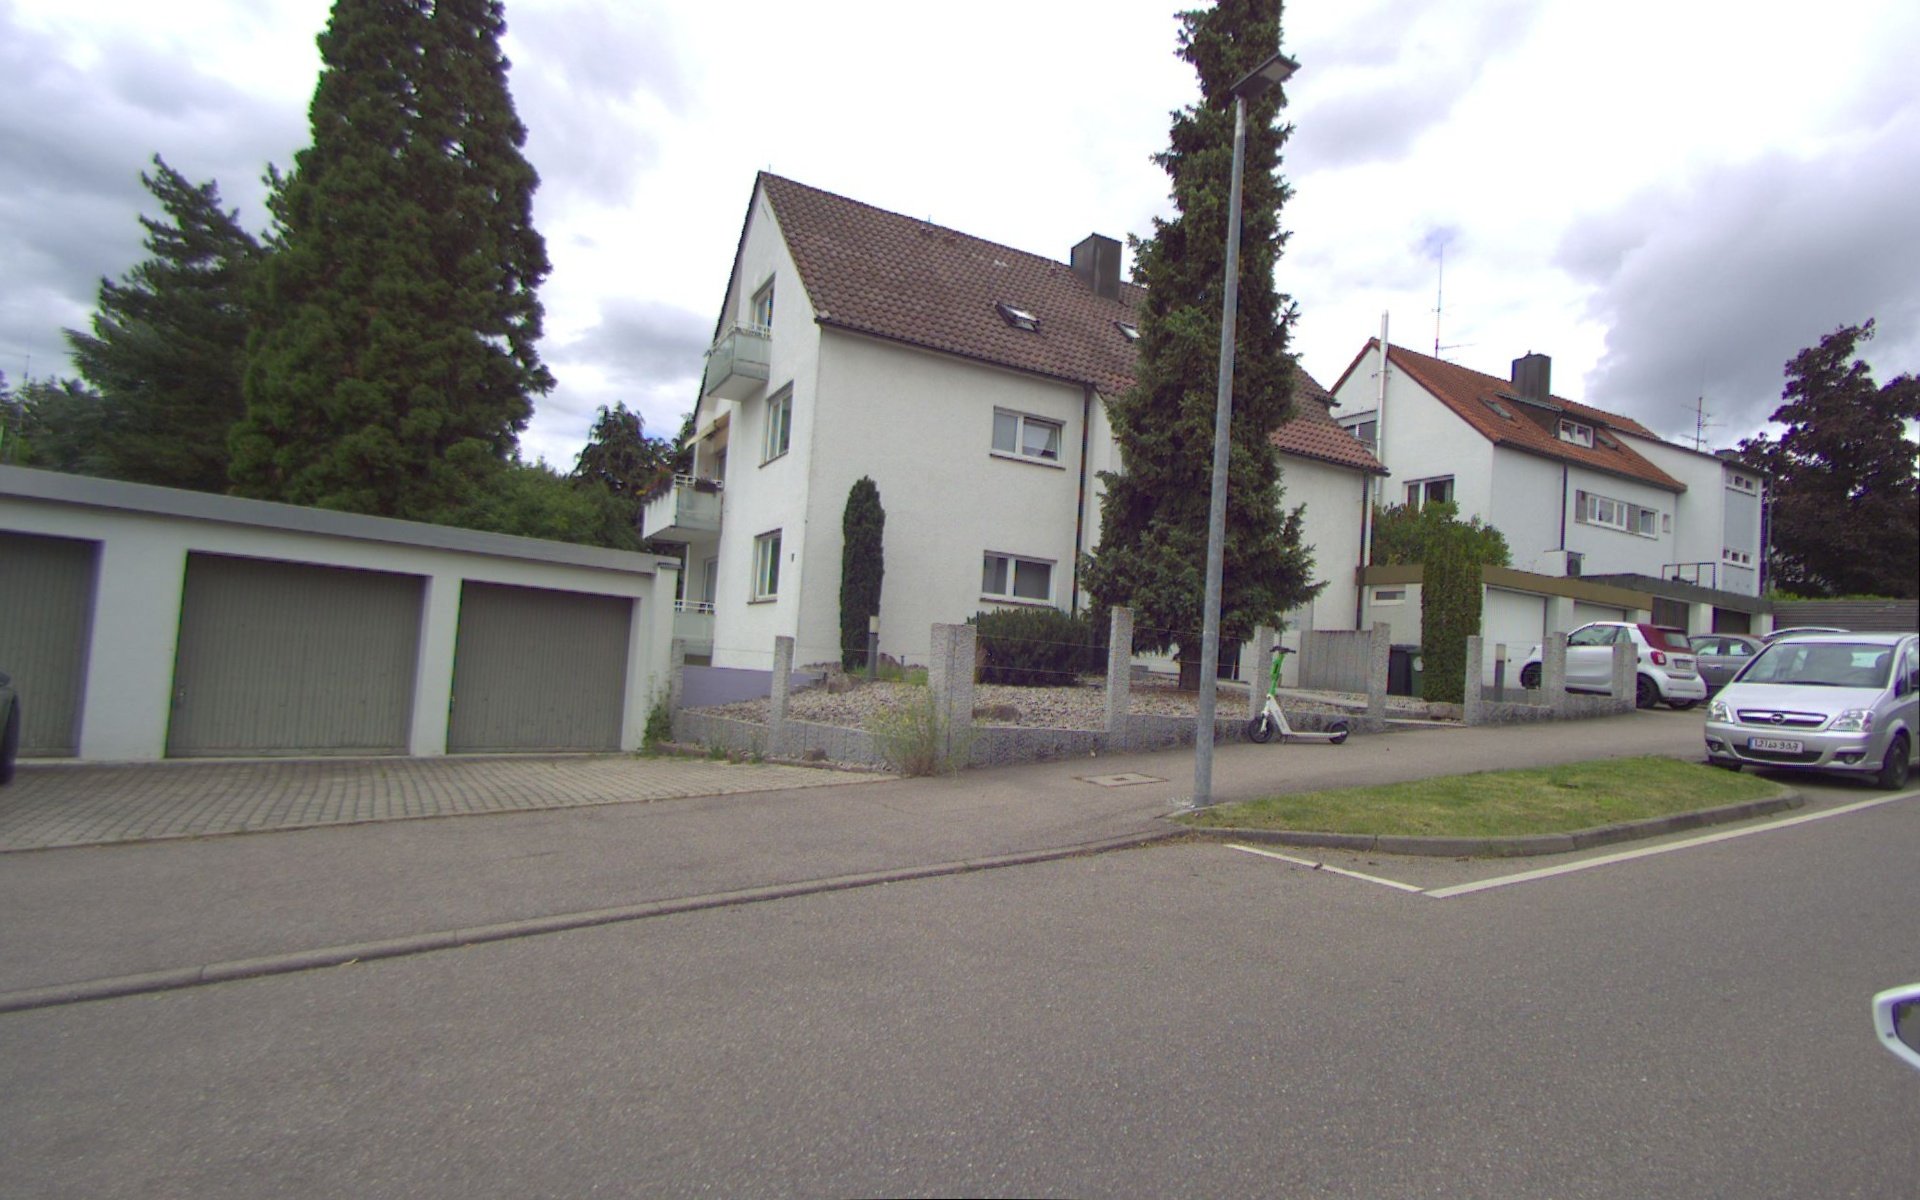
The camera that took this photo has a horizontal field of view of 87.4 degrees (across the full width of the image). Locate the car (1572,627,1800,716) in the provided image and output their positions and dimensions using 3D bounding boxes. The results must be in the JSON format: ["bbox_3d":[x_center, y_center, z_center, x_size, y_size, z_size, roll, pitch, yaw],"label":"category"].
[{"bbox_3d":[14.946,1.433,20.841,1.672,1.532,3.413,3,0,-29],"label":"car"}]

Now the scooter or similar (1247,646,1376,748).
[{"bbox_3d":[4.229,1.151,12.088,1.430,1.164,0.474,1,0,-16],"label":"scooter or similar"}]

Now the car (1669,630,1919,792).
[{"bbox_3d":[10.080,1.163,11.586,3.812,1.583,1.751,2,-3,-32],"label":"car"}]

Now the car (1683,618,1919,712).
[{"bbox_3d":[18.717,1.339,21.905,1.889,1.650,4.387,2,1,-31],"label":"car"}]

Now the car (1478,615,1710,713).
[{"bbox_3d":[12.177,1.187,19.491,1.637,1.599,3.413,3,0,-29],"label":"car"}]

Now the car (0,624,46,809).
[{"bbox_3d":[-7.913,0.858,6.925,1.886,1.385,4.256,2,-2,-36],"label":"car"}]
